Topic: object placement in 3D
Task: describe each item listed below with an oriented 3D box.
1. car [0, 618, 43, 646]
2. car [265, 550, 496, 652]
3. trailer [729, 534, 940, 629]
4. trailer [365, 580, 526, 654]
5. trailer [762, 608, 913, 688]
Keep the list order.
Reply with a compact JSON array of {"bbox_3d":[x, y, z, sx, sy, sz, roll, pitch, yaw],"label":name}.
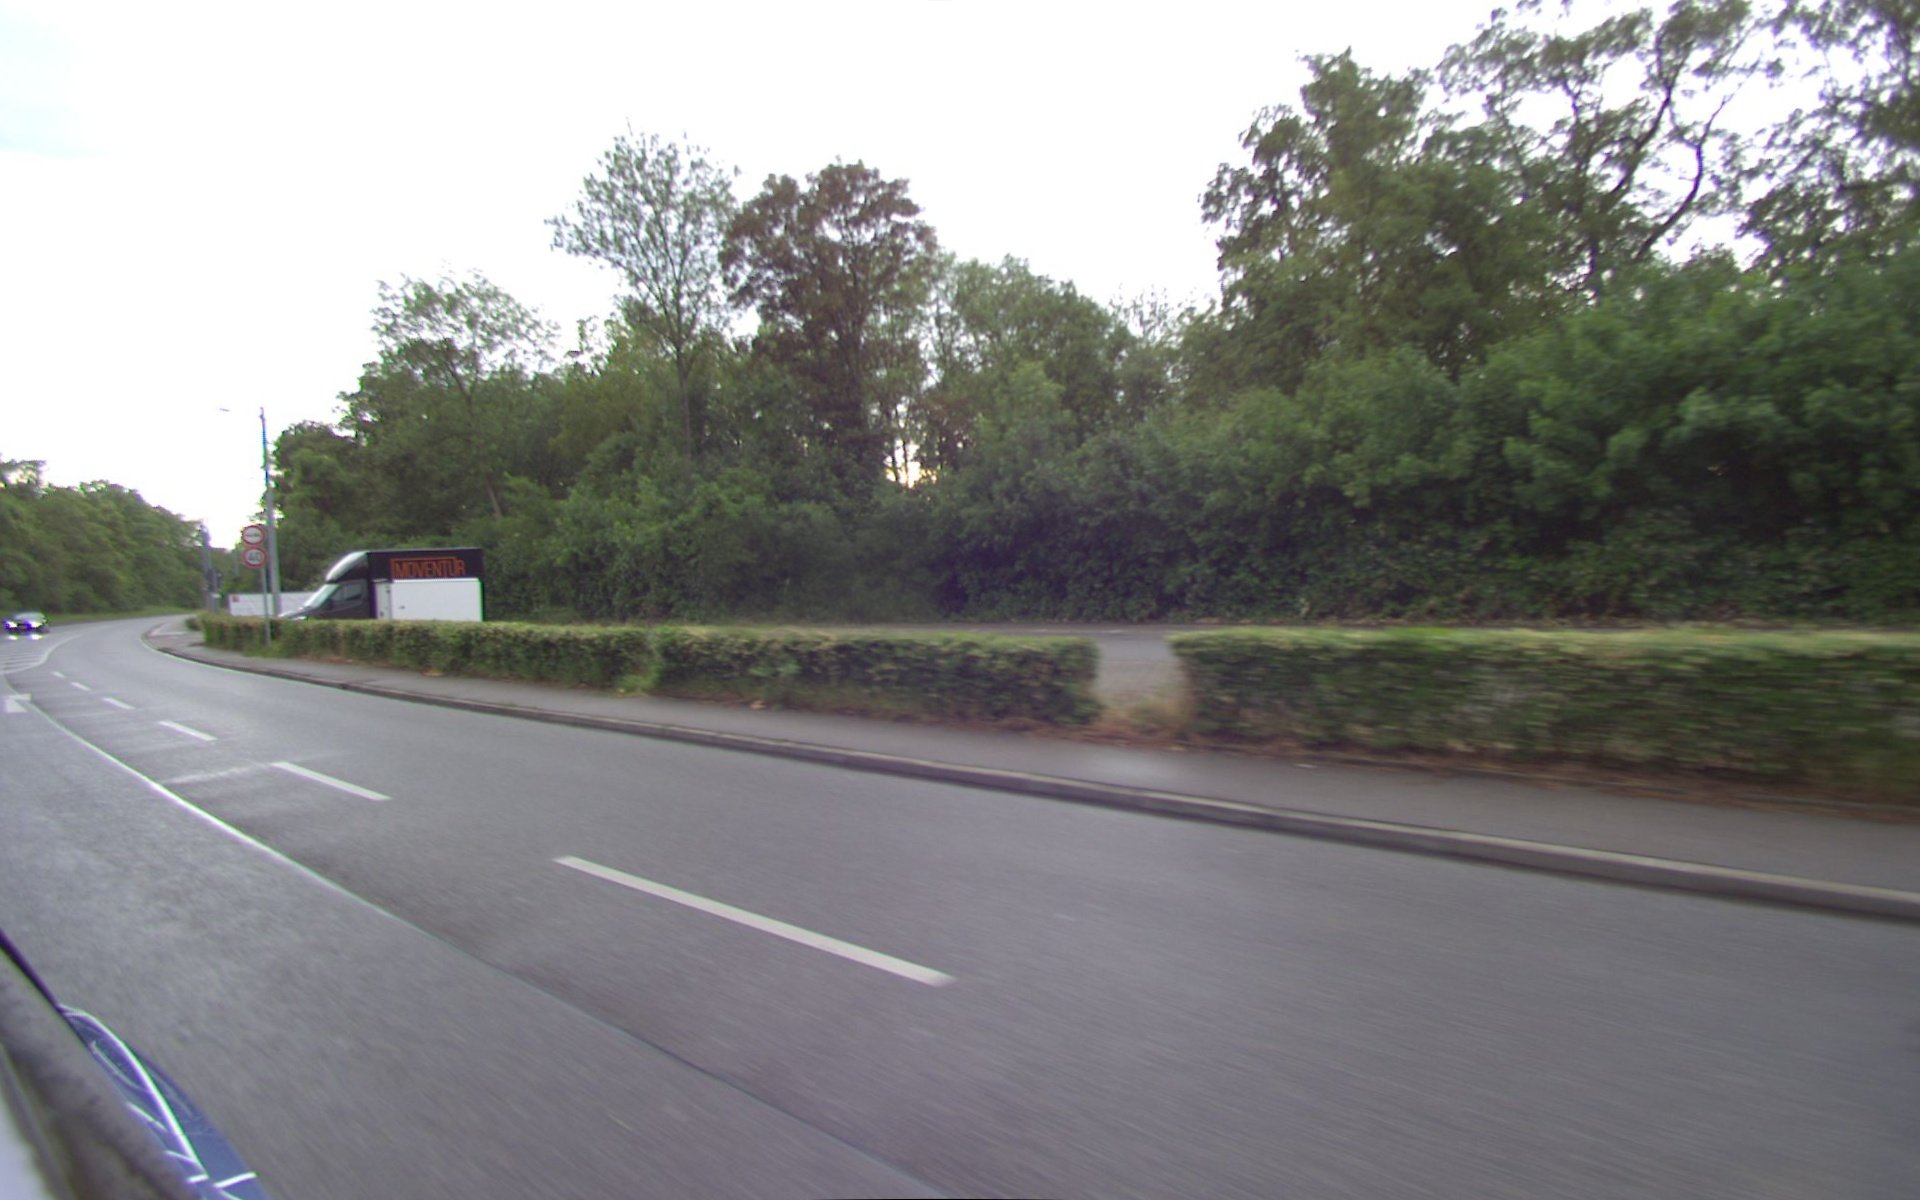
[{"bbox_3d":[-63.609,2.140,68.382,1.967,1.696,4.010,-1,1,-36],"label":"car"},{"bbox_3d":[-19.509,-0.062,34.350,2.751,3.136,6.205,0,2,42],"label":"car"},{"bbox_3d":[-4.429,-0.532,34.184,7.976,2.895,2.449,-1,0,43],"label":"trailer"},{"bbox_3d":[-15.519,0.465,30.630,3.941,2.068,1.874,-2,1,-45],"label":"trailer"},{"bbox_3d":[-1.804,0.680,15.078,1.332,1.042,1.784,-1,1,39],"label":"trailer"}]
